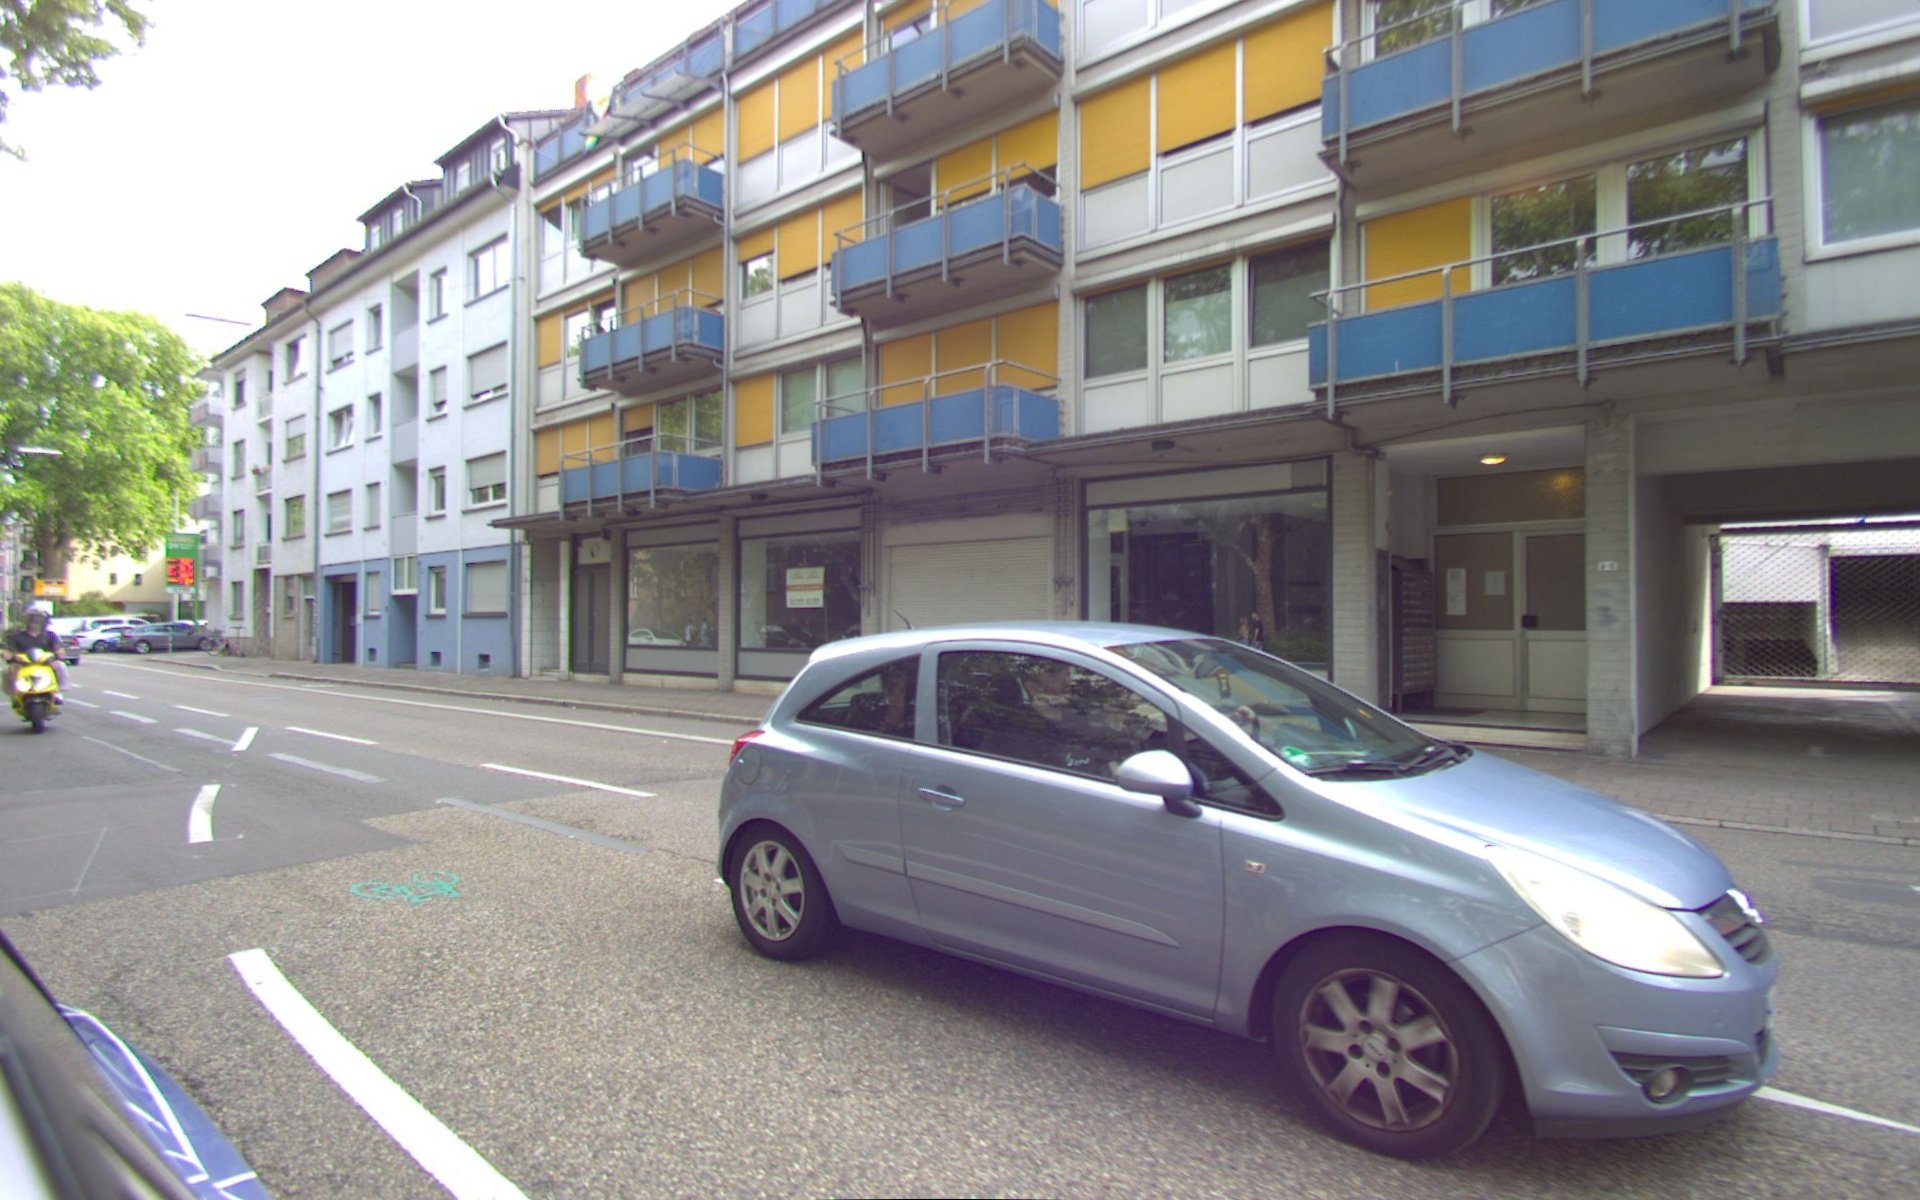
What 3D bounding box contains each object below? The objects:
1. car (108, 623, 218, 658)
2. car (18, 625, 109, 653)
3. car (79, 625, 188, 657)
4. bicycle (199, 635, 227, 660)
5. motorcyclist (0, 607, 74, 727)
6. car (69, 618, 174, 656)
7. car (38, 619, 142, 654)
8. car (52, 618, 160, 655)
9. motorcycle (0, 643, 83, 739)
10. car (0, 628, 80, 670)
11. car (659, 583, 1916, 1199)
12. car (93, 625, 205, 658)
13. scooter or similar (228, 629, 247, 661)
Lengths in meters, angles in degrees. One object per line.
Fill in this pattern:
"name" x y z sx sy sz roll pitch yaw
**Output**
"car" -40.505 2.049 51.512 1.836 1.525 4.108 -2 0 41
"car" -61.693 2.657 69.675 1.753 1.618 4.471 -2 0 42
"car" -44.186 2.168 54.164 1.873 1.462 4.227 -2 0 41
"bicycle" -30.862 1.951 41.812 1.662 0.957 0.591 -2 -1 41
"motorcyclist" -13.172 0.928 14.288 0.691 1.630 0.893 -2 -2 42
"car" -46.322 2.025 55.967 1.923 1.862 4.168 -2 0 41
"car" -53.279 2.235 62.034 1.949 1.873 4.568 -2 0 42
"car" -51.169 2.135 60.713 1.993 1.949 4.717 -2 0 42
"motorcycle" -13.171 1.232 14.272 2.630 1.206 0.893 -2 -2 42
"car" -33.272 1.734 36.427 4.095 1.438 1.739 -1 -3 40
"car" 0.760 0.734 4.001 4.249 1.431 1.695 -1 -2 40
"car" -42.361 2.125 52.926 1.909 1.462 4.256 -2 0 41
"scooter or similar" -28.706 1.782 40.180 1.201 1.231 0.346 -2 -1 41
